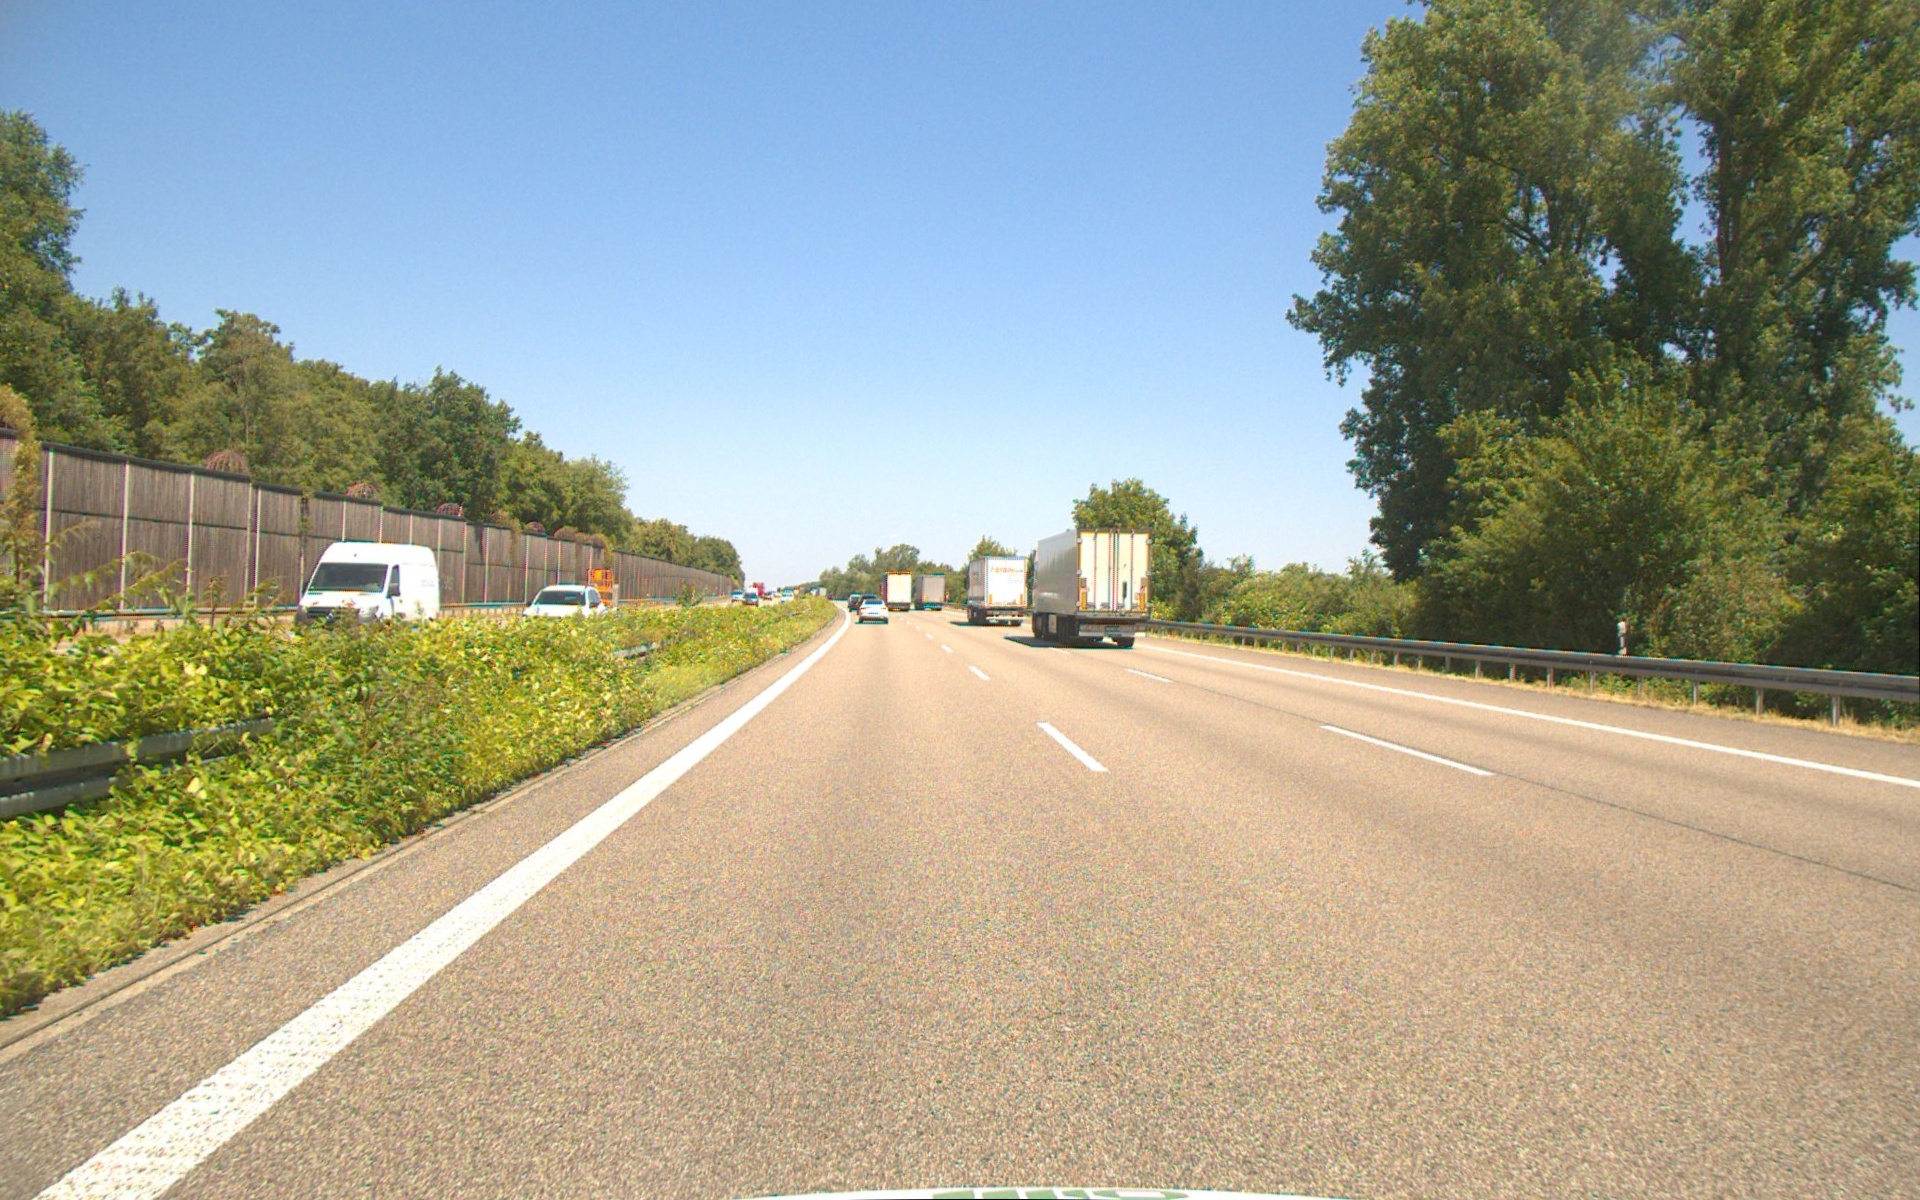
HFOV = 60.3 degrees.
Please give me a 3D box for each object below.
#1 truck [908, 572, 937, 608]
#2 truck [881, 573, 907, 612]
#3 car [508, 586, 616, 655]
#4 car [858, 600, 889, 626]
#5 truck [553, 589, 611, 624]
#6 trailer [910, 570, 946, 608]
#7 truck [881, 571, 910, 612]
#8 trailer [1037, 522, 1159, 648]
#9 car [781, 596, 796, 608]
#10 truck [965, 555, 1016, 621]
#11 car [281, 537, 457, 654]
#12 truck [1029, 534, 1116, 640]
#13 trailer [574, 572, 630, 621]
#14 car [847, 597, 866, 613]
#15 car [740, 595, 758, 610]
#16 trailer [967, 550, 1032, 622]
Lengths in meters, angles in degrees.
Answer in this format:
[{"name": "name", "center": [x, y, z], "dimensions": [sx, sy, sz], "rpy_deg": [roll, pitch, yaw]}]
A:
[{"name": "truck", "center": [-4.646, -1.178, 203.229], "dimensions": [2.641, 4.289, 7.824], "rpy_deg": [2, -1, -8]}, {"name": "truck", "center": [-7.473, -0.823, 186.820], "dimensions": [2.673, 4.157, 7.272], "rpy_deg": [2, -1, -3]}, {"name": "car", "center": [-11.018, 0.541, 46.132], "dimensions": [1.955, 1.750, 5.021], "rpy_deg": [2, 0, -3]}, {"name": "car", "center": [-5.334, 0.785, 101.738], "dimensions": [1.818, 1.512, 3.997], "rpy_deg": [1, 0, -4]}, {"name": "truck", "center": [-21.191, 0.344, 93.035], "dimensions": [2.059, 1.848, 6.208], "rpy_deg": [1, 0, -2]}, {"name": "trailer", "center": [-3.846, -1.195, 197.289], "dimensions": [2.653, 4.289, 13.188], "rpy_deg": [2, -1, -8]}, {"name": "truck", "center": [-7.100, -0.865, 181.441], "dimensions": [2.653, 4.157, 13.462], "rpy_deg": [2, -1, -4]}, {"name": "trailer", "center": [4.931, -0.511, 61.761], "dimensions": [2.900, 4.178, 12.525], "rpy_deg": [1, 0, -3]}, {"name": "car", "center": [-24.640, 0.279, 237.516], "dimensions": [1.954, 1.676, 5.040], "rpy_deg": [1, 0, -5]}, {"name": "truck", "center": [1.976, -0.760, 109.647], "dimensions": [2.654, 4.160, 6.958], "rpy_deg": [1, 0, -5]}, {"name": "car", "center": [-14.482, -0.112, 41.042], "dimensions": [2.121, 2.585, 6.785], "rpy_deg": [2, 0, -3]}, {"name": "truck", "center": [4.634, -0.509, 69.203], "dimensions": [2.900, 4.178, 6.203], "rpy_deg": [1, 0, -3]}, {"name": "trailer", "center": [-21.449, -0.196, 99.384], "dimensions": [2.197, 2.824, 6.506], "rpy_deg": [1, 0, -3]}, {"name": "car", "center": [-10.501, 0.508, 167.748], "dimensions": [1.818, 1.645, 3.997], "rpy_deg": [1, 0, -4]}, {"name": "car", "center": [-24.652, 0.290, 193.138], "dimensions": [1.956, 1.676, 4.683], "rpy_deg": [1, 0, -9]}, {"name": "trailer", "center": [2.350, -0.792, 104.059], "dimensions": [2.654, 4.160, 14.138], "rpy_deg": [1, 0, -4]}]
